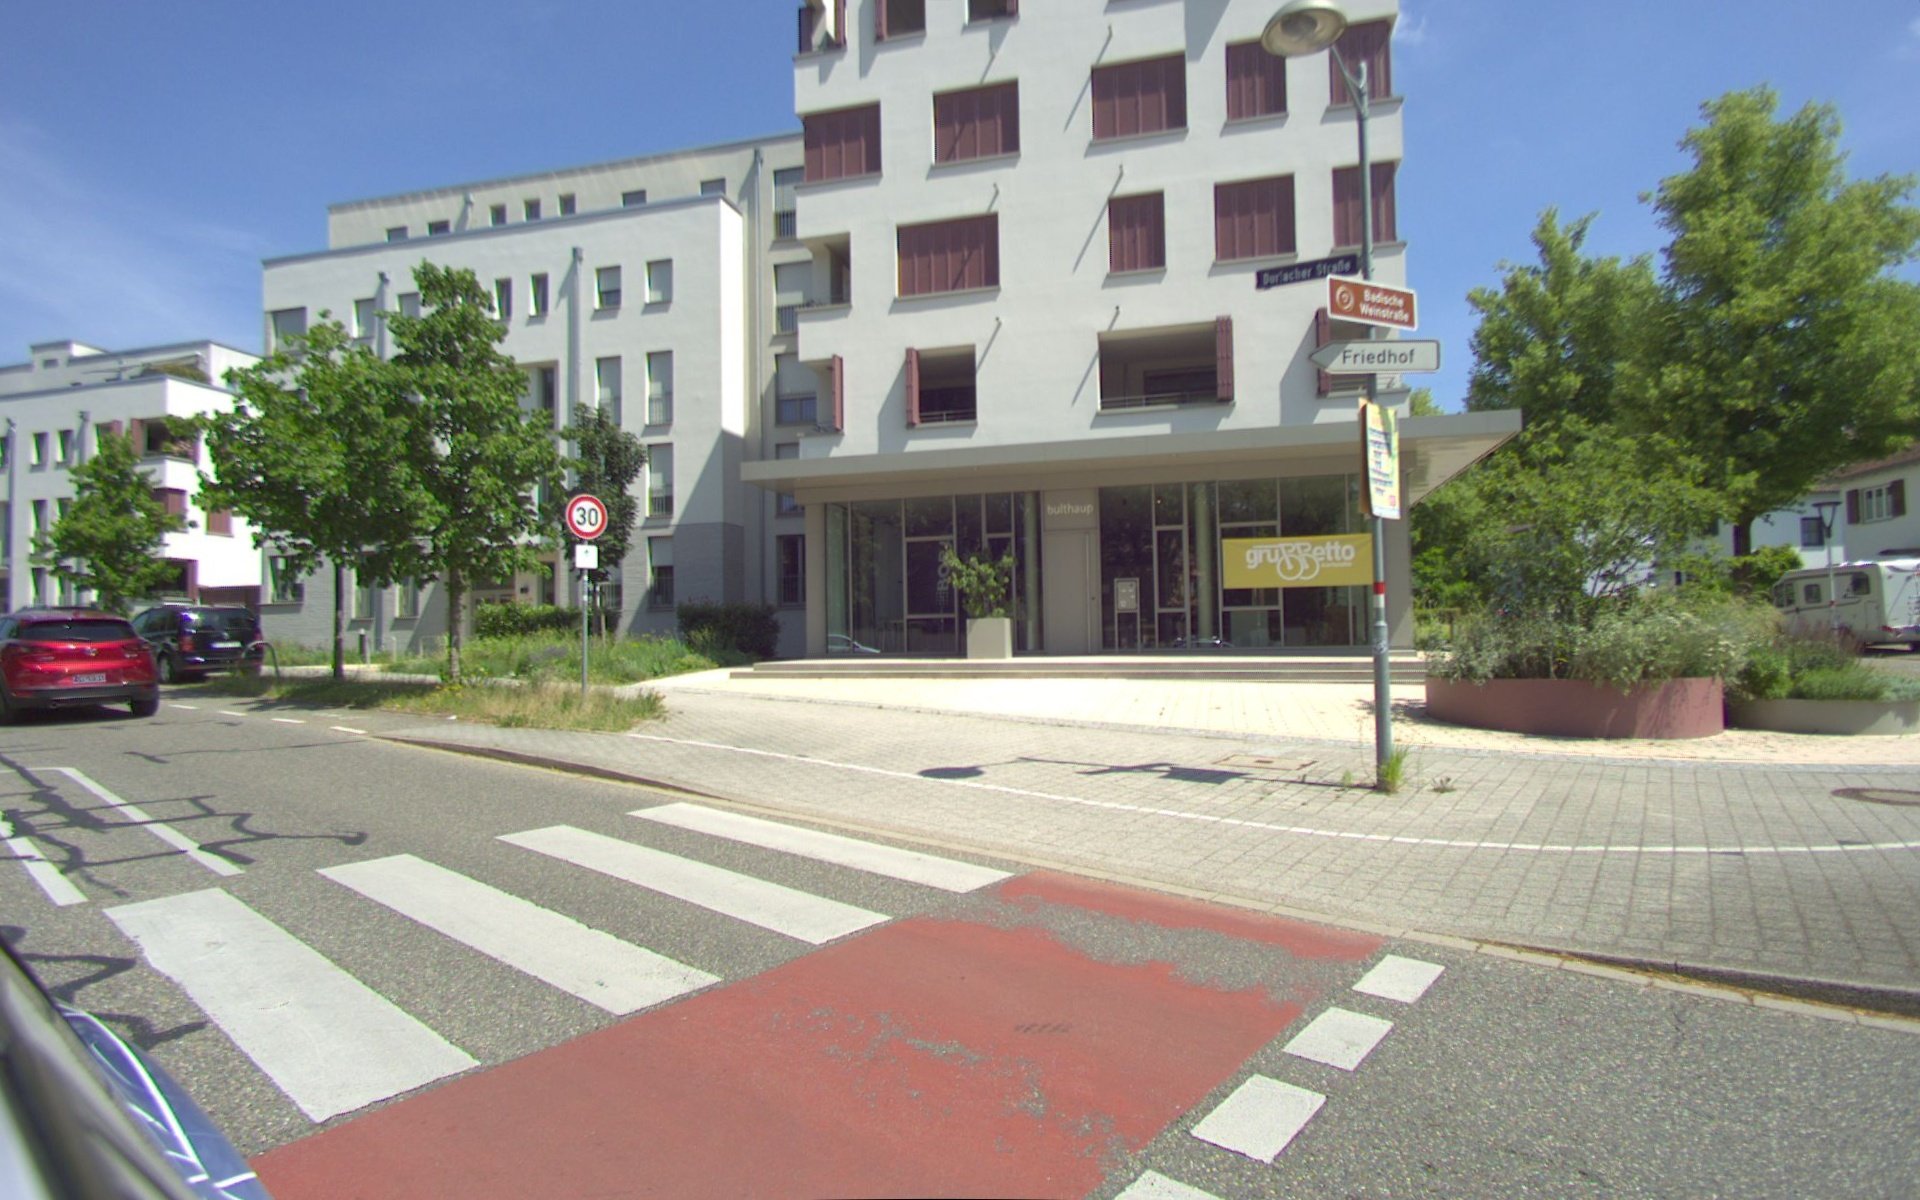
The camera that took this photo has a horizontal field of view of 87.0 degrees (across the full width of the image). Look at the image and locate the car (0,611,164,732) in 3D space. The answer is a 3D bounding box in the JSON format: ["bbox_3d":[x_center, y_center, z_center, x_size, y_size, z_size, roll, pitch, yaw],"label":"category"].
[{"bbox_3d":[-13.174,0.946,14.588,3.986,1.516,1.734,-2,-2,37],"label":"car"}]

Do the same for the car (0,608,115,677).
[{"bbox_3d":[-24.190,1.088,26.880,3.616,1.713,1.681,-1,-1,33],"label":"car"}]

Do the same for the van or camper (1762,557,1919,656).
[{"bbox_3d":[27.046,0.168,30.185,2.250,2.658,5.865,-4,-2,11],"label":"van or camper"}]

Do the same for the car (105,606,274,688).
[{"bbox_3d":[-16.925,0.986,22.198,4.008,1.650,1.681,-1,-1,33],"label":"car"}]

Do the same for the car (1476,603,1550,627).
[{"bbox_3d":[38.390,1.030,70.365,4.069,1.621,1.813,0,-1,6],"label":"car"}]

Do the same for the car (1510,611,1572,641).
[{"bbox_3d":[31.346,1.403,54.727,1.738,1.516,3.977,-1,-1,12],"label":"car"}]
